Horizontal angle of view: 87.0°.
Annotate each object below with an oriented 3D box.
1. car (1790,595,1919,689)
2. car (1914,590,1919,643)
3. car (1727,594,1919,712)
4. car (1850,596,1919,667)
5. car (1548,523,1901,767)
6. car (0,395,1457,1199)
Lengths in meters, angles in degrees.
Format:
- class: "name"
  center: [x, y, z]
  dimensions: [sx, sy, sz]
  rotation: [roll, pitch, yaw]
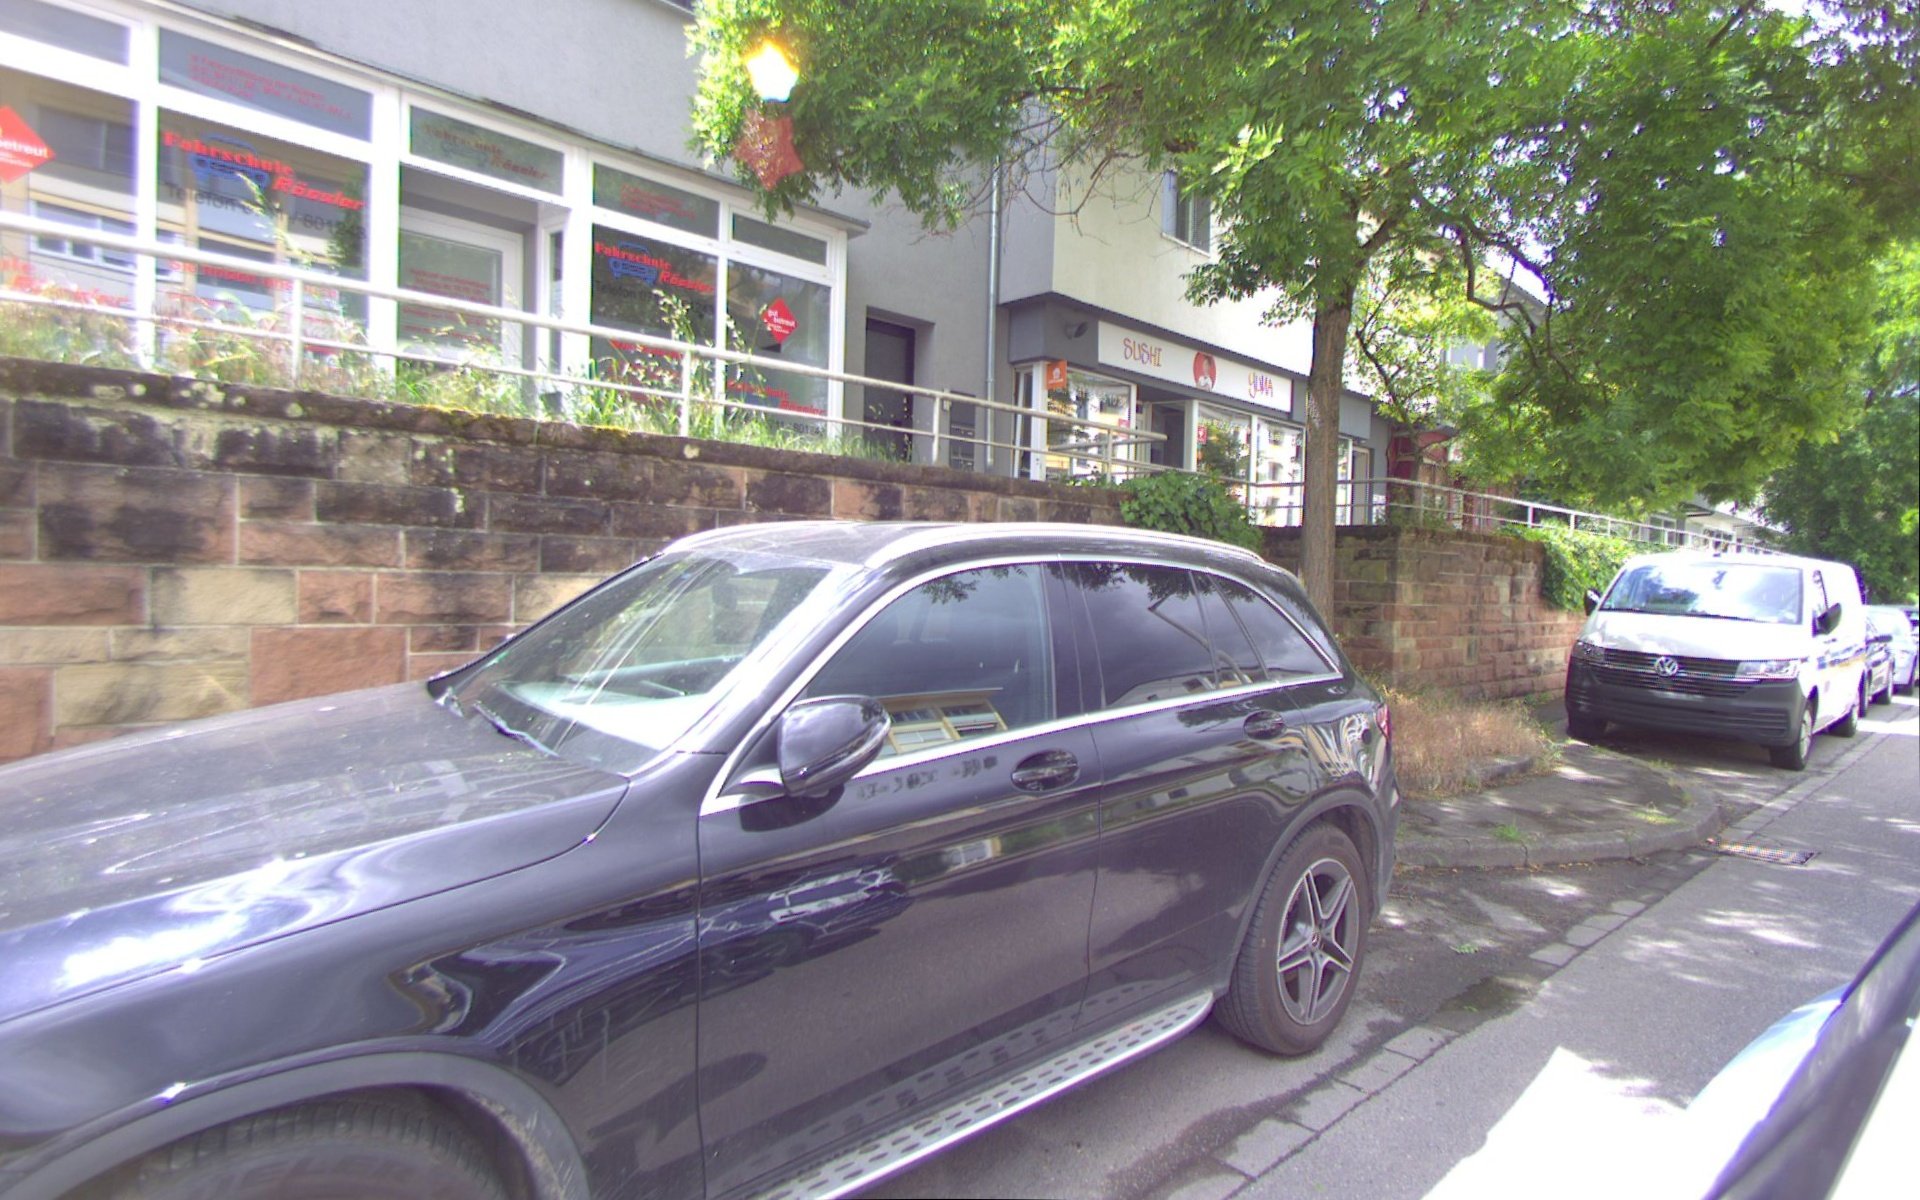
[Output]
- class: "car"
  center: [16.197, 0.659, 17.950]
  dimensions: [4.076, 1.446, 1.782]
  rotation: [0, 2, -44]
- class: "car"
  center: [32.316, 0.553, 32.784]
  dimensions: [4.078, 1.674, 1.816]
  rotation: [0, 2, -44]
- class: "car"
  center: [12.511, 0.664, 14.592]
  dimensions: [3.669, 1.446, 1.577]
  rotation: [0, 1, -41]
- class: "car"
  center: [21.307, 0.667, 22.465]
  dimensions: [4.075, 1.446, 1.783]
  rotation: [0, 2, -41]
- class: "car"
  center: [8.196, 0.338, 10.646]
  dimensions: [4.925, 1.994, 1.977]
  rotation: [0, 1, -41]
- class: "car"
  center: [-0.458, 0.532, 2.886]
  dimensions: [4.371, 1.637, 1.793]
  rotation: [0, 4, -42]
